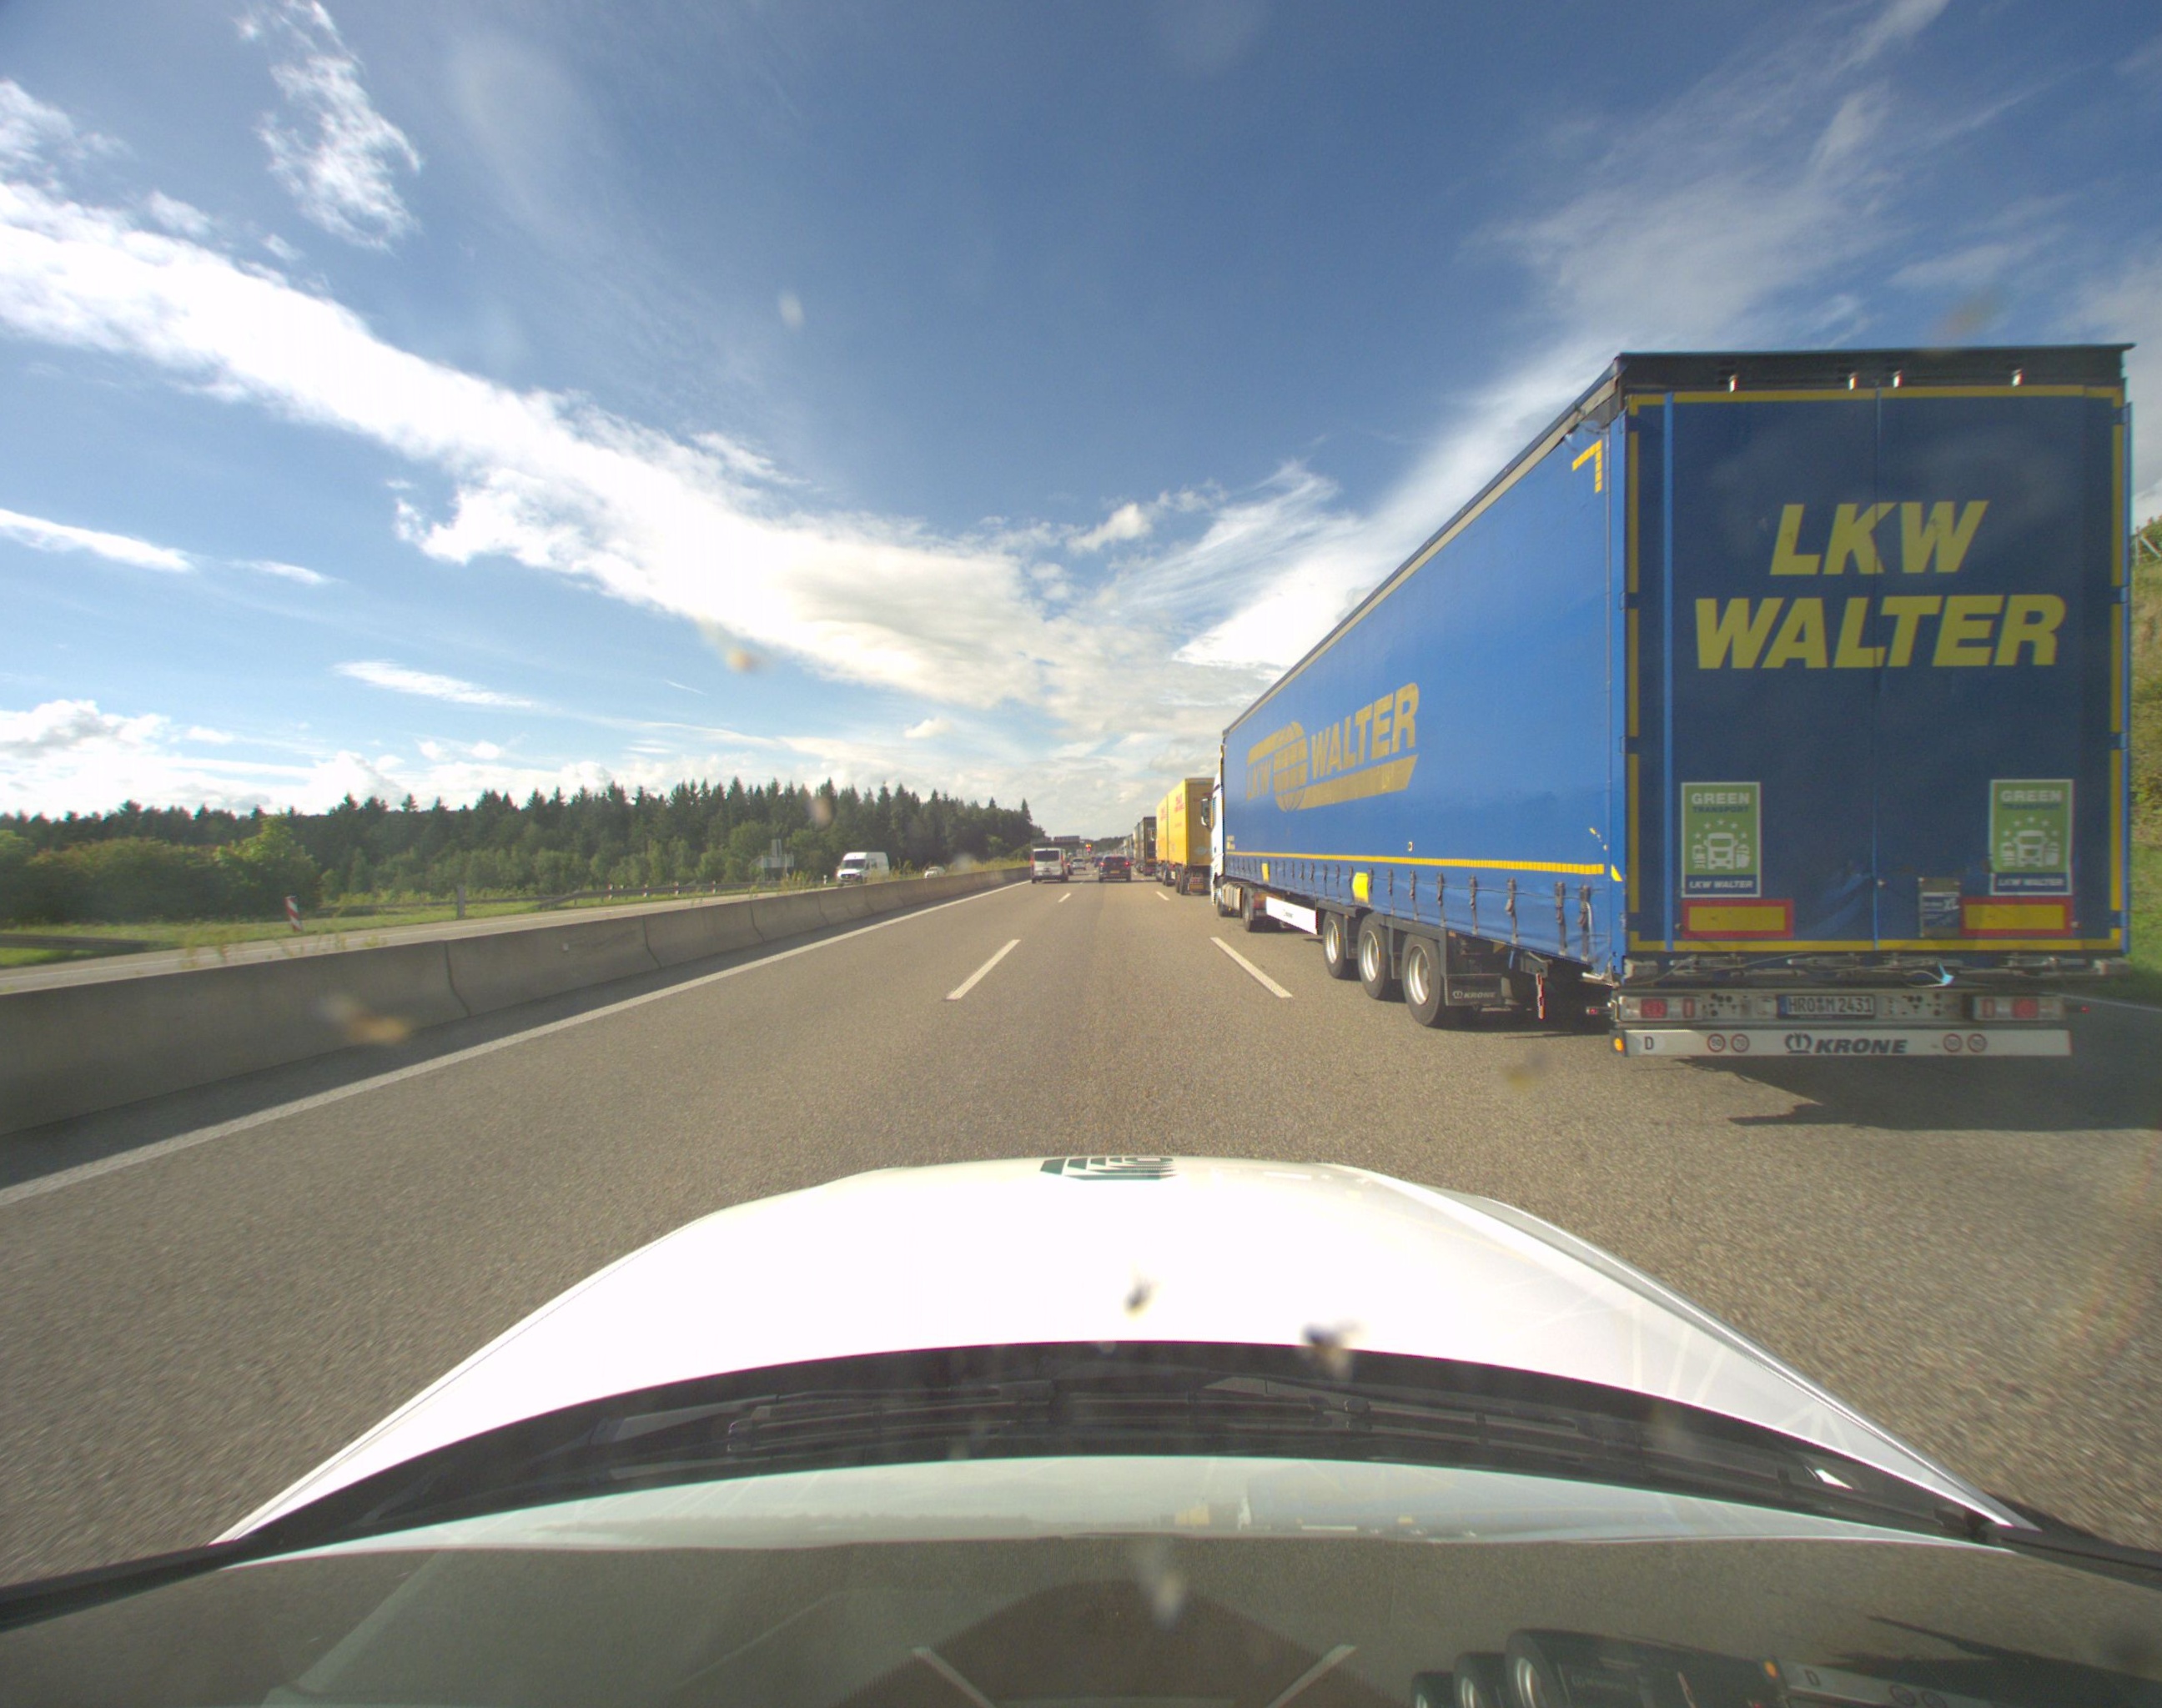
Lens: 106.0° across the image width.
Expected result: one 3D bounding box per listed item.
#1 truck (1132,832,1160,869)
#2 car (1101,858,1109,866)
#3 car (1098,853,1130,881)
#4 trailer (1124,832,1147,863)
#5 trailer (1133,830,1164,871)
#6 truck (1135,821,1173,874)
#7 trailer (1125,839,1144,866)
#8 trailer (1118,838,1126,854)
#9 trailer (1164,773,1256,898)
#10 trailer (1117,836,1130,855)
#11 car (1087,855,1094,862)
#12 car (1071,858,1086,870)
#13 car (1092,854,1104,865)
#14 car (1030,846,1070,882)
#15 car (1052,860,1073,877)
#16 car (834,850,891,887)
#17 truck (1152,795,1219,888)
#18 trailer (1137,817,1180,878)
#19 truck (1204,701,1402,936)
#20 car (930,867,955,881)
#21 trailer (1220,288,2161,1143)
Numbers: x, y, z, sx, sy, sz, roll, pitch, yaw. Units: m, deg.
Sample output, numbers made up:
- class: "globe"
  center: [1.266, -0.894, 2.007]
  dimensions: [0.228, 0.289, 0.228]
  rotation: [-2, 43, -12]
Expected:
- class: "truck"
  center: [7.321, -0.325, 92.290]
  dimensions: [2.790, 3.939, 5.830]
  rotation: [-2, -1, 3]
- class: "car"
  center: [3.955, 1.341, 134.084]
  dimensions: [1.355, 1.396, 3.086]
  rotation: [0, 0, 2]
- class: "car"
  center: [1.837, 0.711, 45.737]
  dimensions: [1.690, 1.483, 4.162]
  rotation: [0, 0, 2]
- class: "trailer"
  center: [7.399, -0.814, 112.031]
  dimensions: [2.651, 3.869, 13.402]
  rotation: [-3, -1, 2]
- class: "trailer"
  center: [6.992, -0.290, 86.026]
  dimensions: [2.780, 3.939, 13.079]
  rotation: [-2, -1, 3]
- class: "truck"
  center: [5.901, -0.493, 67.409]
  dimensions: [2.729, 4.038, 10.209]
  rotation: [-1, 0, 3]
- class: "trailer"
  center: [8.923, -0.258, 137.470]
  dimensions: [2.692, 4.081, 12.952]
  rotation: [-4, 0, 2]
- class: "trailer"
  center: [11.733, -2.189, 232.966]
  dimensions: [2.141, 4.259, 8.446]
  rotation: [-3, -1, 3]
- class: "trailer"
  center: [4.680, -0.610, 31.201]
  dimensions: [2.403, 4.068, 8.931]
  rotation: [0, 0, 2]
- class: "trailer"
  center: [10.612, -2.026, 202.017]
  dimensions: [2.791, 4.244, 11.065]
  rotation: [-4, -1, 3]
- class: "car"
  center: [2.036, 0.973, 173.790]
  dimensions: [1.429, 1.310, 3.535]
  rotation: [0, 0, 2]
- class: "car"
  center: [-0.251, 1.133, 92.923]
  dimensions: [1.494, 1.396, 3.477]
  rotation: [0, 0, 2]
- class: "car"
  center: [2.290, 0.757, 111.669]
  dimensions: [1.575, 1.396, 3.209]
  rotation: [0, 0, 2]
- class: "car"
  center: [-1.771, 0.584, 47.588]
  dimensions: [1.925, 1.979, 5.101]
  rotation: [0, 0, 2]
- class: "car"
  center: [-1.498, 1.159, 66.698]
  dimensions: [1.494, 1.396, 3.477]
  rotation: [0, 0, 2]
- class: "car"
  center: [-16.191, 1.068, 60.700]
  dimensions: [2.026, 2.578, 7.324]
  rotation: [0, 0, 2]
- class: "truck"
  center: [5.004, -0.543, 40.497]
  dimensions: [2.403, 4.068, 9.669]
  rotation: [0, 0, 2]
- class: "trailer"
  center: [5.413, -0.461, 57.962]
  dimensions: [2.704, 3.961, 8.719]
  rotation: [0, 0, 3]
- class: "truck"
  center: [4.378, -0.600, 17.517]
  dimensions: [2.638, 4.089, 6.493]
  rotation: [0, -1, 2]
- class: "car"
  center: [-18.419, 2.598, 108.456]
  dimensions: [1.983, 1.800, 4.987]
  rotation: [-1, 0, 7]
- class: "trailer"
  center: [4.178, -0.624, 10.912]
  dimensions: [2.632, 4.098, 13.985]
  rotation: [0, 0, 2]
